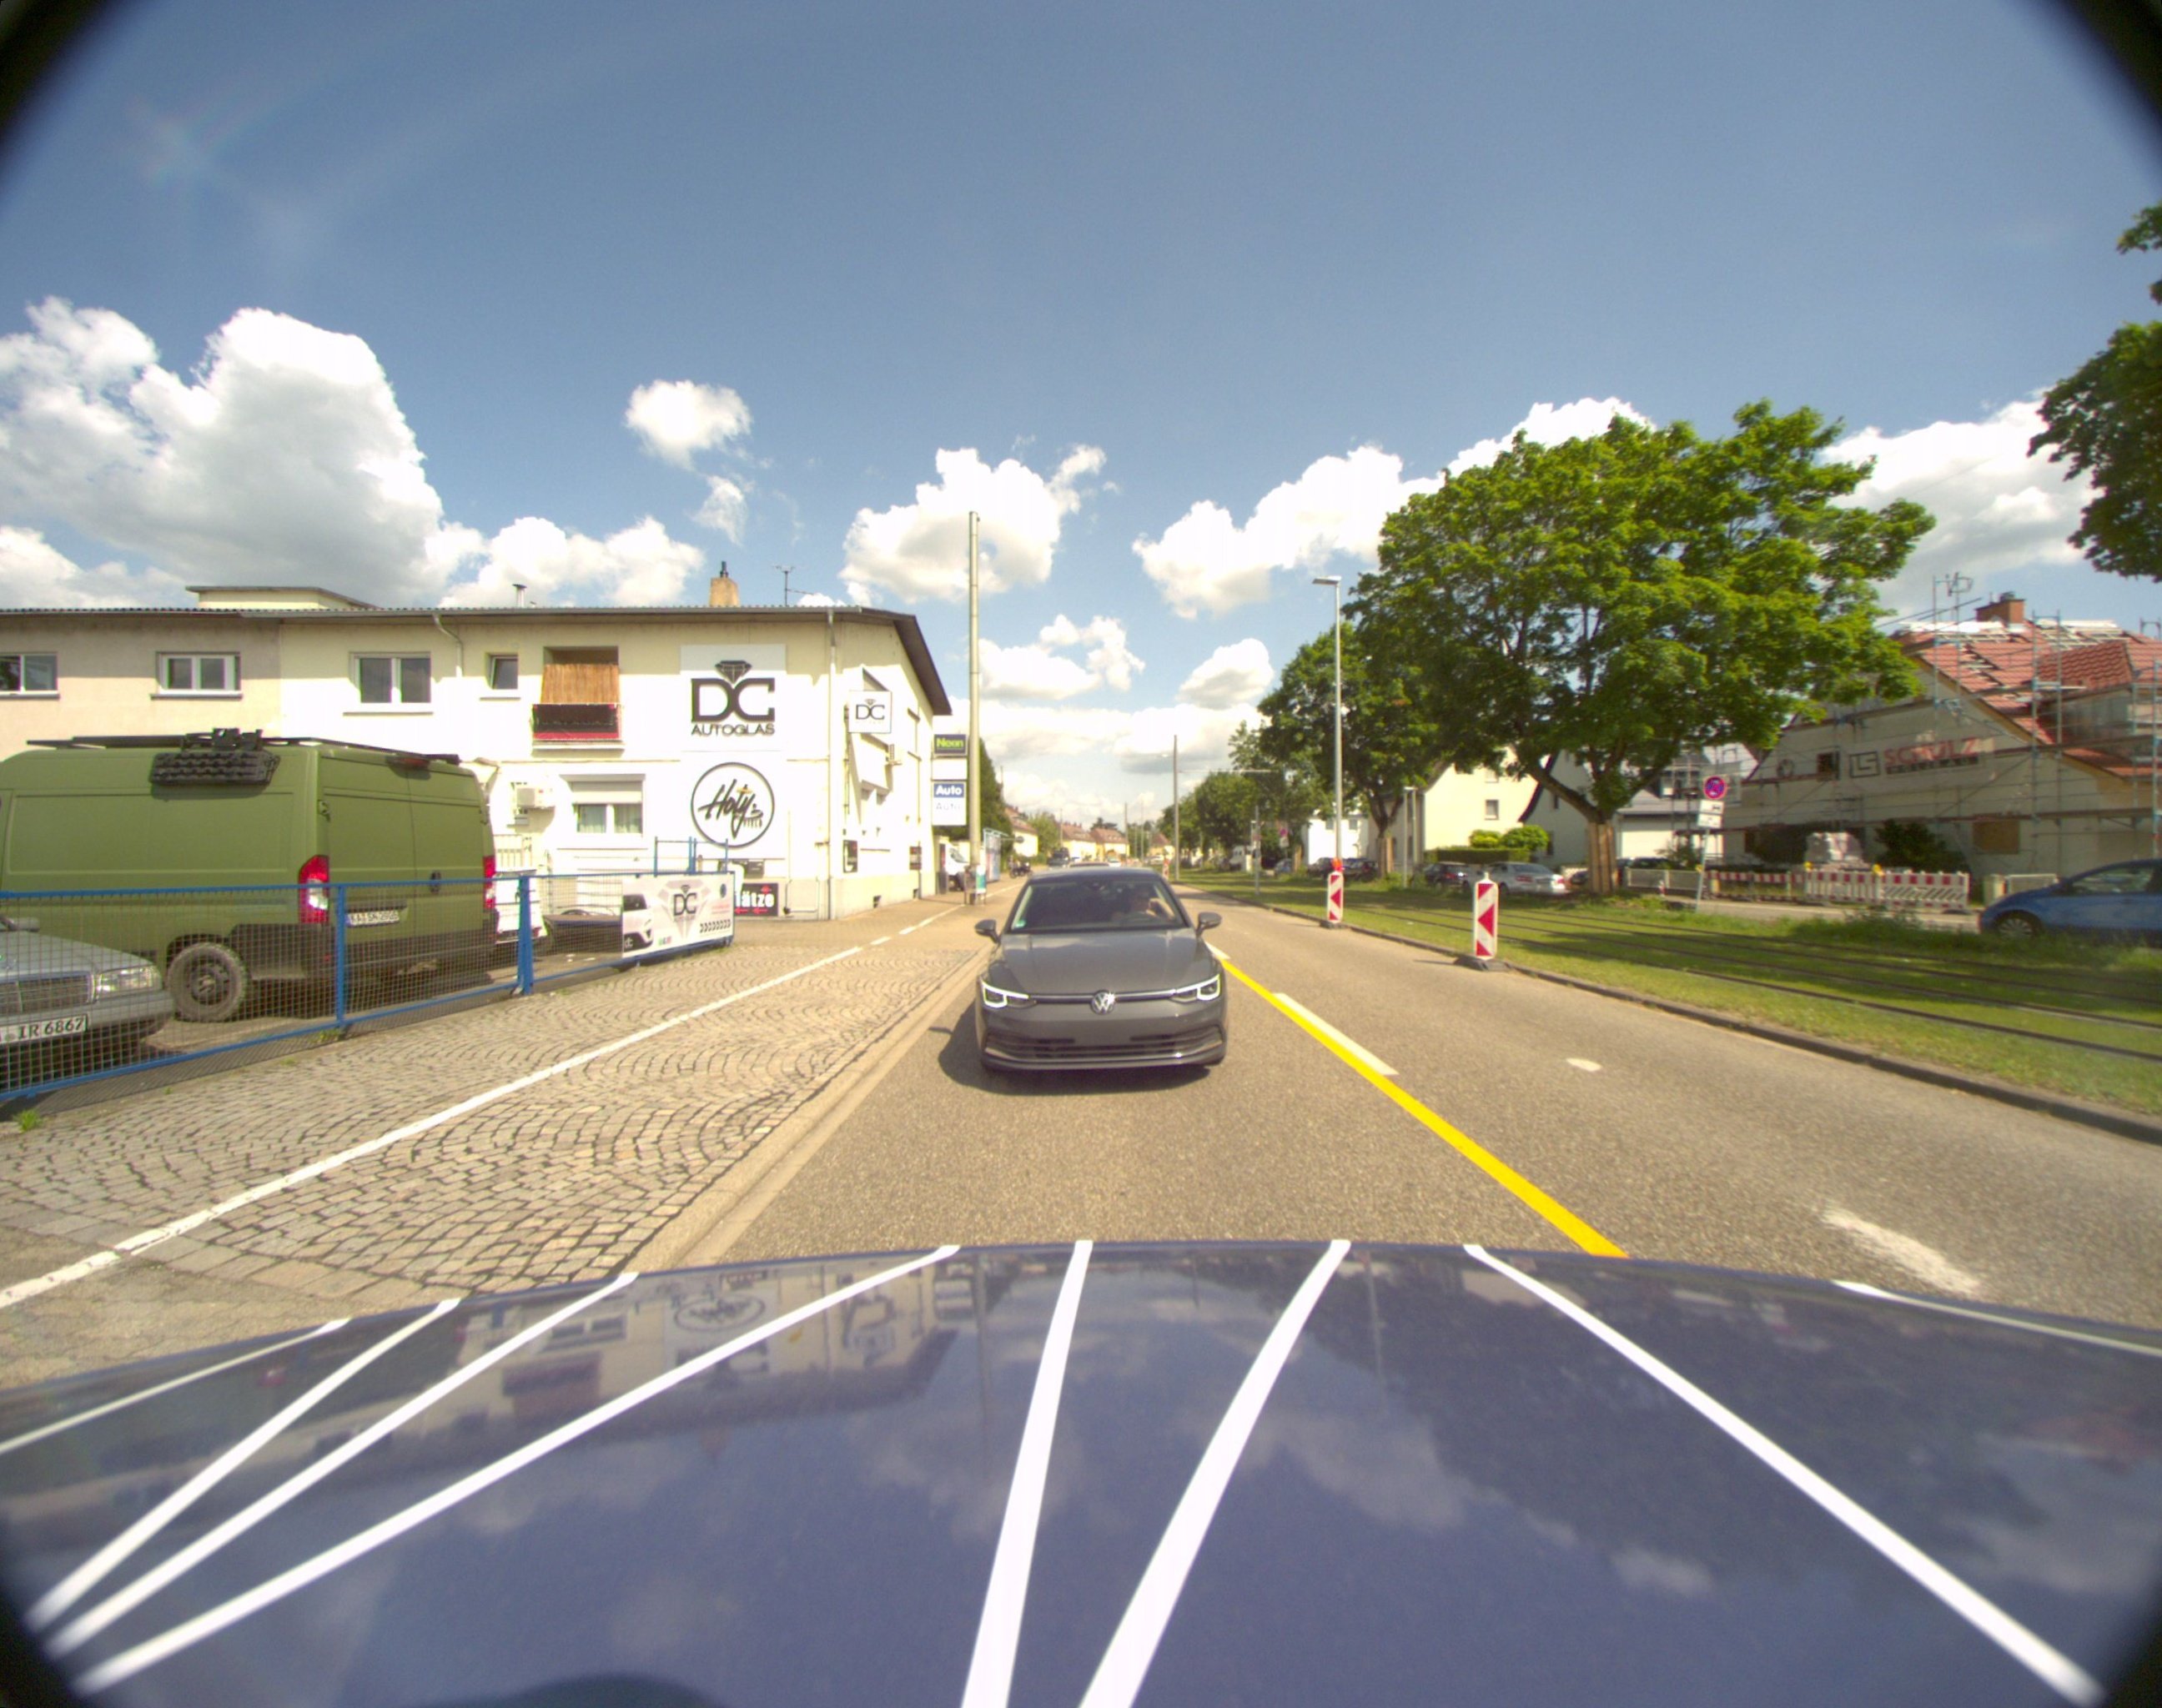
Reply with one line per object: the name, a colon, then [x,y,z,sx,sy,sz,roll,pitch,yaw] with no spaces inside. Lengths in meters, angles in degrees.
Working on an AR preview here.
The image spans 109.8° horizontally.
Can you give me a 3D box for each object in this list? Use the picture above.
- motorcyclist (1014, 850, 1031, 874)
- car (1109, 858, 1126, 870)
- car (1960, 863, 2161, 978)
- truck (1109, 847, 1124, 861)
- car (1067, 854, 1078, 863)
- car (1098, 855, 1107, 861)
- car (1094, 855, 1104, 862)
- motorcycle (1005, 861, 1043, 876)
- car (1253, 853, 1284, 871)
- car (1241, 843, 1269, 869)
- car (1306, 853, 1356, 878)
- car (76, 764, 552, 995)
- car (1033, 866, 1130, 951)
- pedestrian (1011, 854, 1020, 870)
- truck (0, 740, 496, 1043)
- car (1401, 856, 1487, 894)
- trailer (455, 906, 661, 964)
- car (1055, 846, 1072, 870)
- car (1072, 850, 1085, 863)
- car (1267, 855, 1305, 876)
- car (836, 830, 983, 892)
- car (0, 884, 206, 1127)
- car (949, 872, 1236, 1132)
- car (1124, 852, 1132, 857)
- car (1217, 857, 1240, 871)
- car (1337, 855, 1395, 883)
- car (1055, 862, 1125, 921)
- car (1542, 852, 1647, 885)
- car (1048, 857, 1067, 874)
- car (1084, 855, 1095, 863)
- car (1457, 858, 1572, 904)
motorcyclist: [-4.716,0.620,61.476,1.111,1.900,0.880,0,0,15]
car: [4.138,1.121,86.204,1.719,1.405,4.262,0,0,1]
car: [16.216,0.959,11.229,1.755,1.602,4.050,0,0,0]
truck: [9.399,0.022,201.132,2.590,3.431,8.585,0,0,11]
car: [-1.370,0.738,122.955,1.720,1.470,4.009,0,0,0]
car: [5.172,0.998,179.082,1.718,1.470,4.011,0,0,8]
car: [4.099,0.996,172.733,1.718,1.470,4.011,0,0,8]
motorcycle: [-4.612,1.161,61.453,2.896,1.164,0.887,0,0,15]
car: [17.581,0.756,71.493,1.755,1.602,4.606,0,0,0]
car: [17.642,0.198,77.047,1.755,2.601,4.606,0,0,0]
car: [16.676,0.764,50.904,1.755,1.602,4.606,0,0,0]
car: [-9.457,0.301,9.648,4.209,2.653,1.803,0,0,0]
car: [0.036,1.006,15.639,1.719,1.470,4.009,0,0,1]
pedestrian: [-6.539,0.830,76.340,0.816,1.577,0.918,0,0,1]
truck: [-8.625,0.328,7.563,3.997,2.592,2.069,0,0,1]
car: [16.587,0.917,35.027,1.755,1.602,4.606,0,0,0]
trailer: [-8.064,1.237,11.833,2.329,0.762,1.269,0,0,2]
car: [-1.922,0.411,82.845,1.720,2.526,5.794,0,0,0]
car: [-0.434,0.400,136.319,1.719,2.360,5.211,0,0,5]
car: [16.491,0.917,61.353,1.755,1.602,4.606,0,0,0]
car: [-7.553,0.303,33.875,5.982,2.362,2.000,3,0,3]
car: [-8.439,0.917,4.806,4.206,1.388,1.804,0,0,8]
car: [0.098,0.937,6.563,1.719,1.470,4.009,0,0,1]
car: [13.525,0.236,218.474,1.718,1.470,4.013,0,0,13]
car: [16.928,1.153,87.267,1.755,1.602,4.606,0,0,0]
car: [16.898,0.851,45.265,1.755,1.602,4.606,0,0,0]
car: [0.267,0.988,21.488,1.787,1.470,4.009,0,0,1]
car: [25.509,0.721,37.830,4.047,1.602,1.757,0,0,1]
car: [-2.164,1.066,70.983,1.720,1.470,4.009,0,0,0]
car: [1.809,0.988,155.299,1.718,1.470,4.011,0,0,8]
car: [16.386,0.965,29.004,1.755,1.602,4.606,0,0,0]
